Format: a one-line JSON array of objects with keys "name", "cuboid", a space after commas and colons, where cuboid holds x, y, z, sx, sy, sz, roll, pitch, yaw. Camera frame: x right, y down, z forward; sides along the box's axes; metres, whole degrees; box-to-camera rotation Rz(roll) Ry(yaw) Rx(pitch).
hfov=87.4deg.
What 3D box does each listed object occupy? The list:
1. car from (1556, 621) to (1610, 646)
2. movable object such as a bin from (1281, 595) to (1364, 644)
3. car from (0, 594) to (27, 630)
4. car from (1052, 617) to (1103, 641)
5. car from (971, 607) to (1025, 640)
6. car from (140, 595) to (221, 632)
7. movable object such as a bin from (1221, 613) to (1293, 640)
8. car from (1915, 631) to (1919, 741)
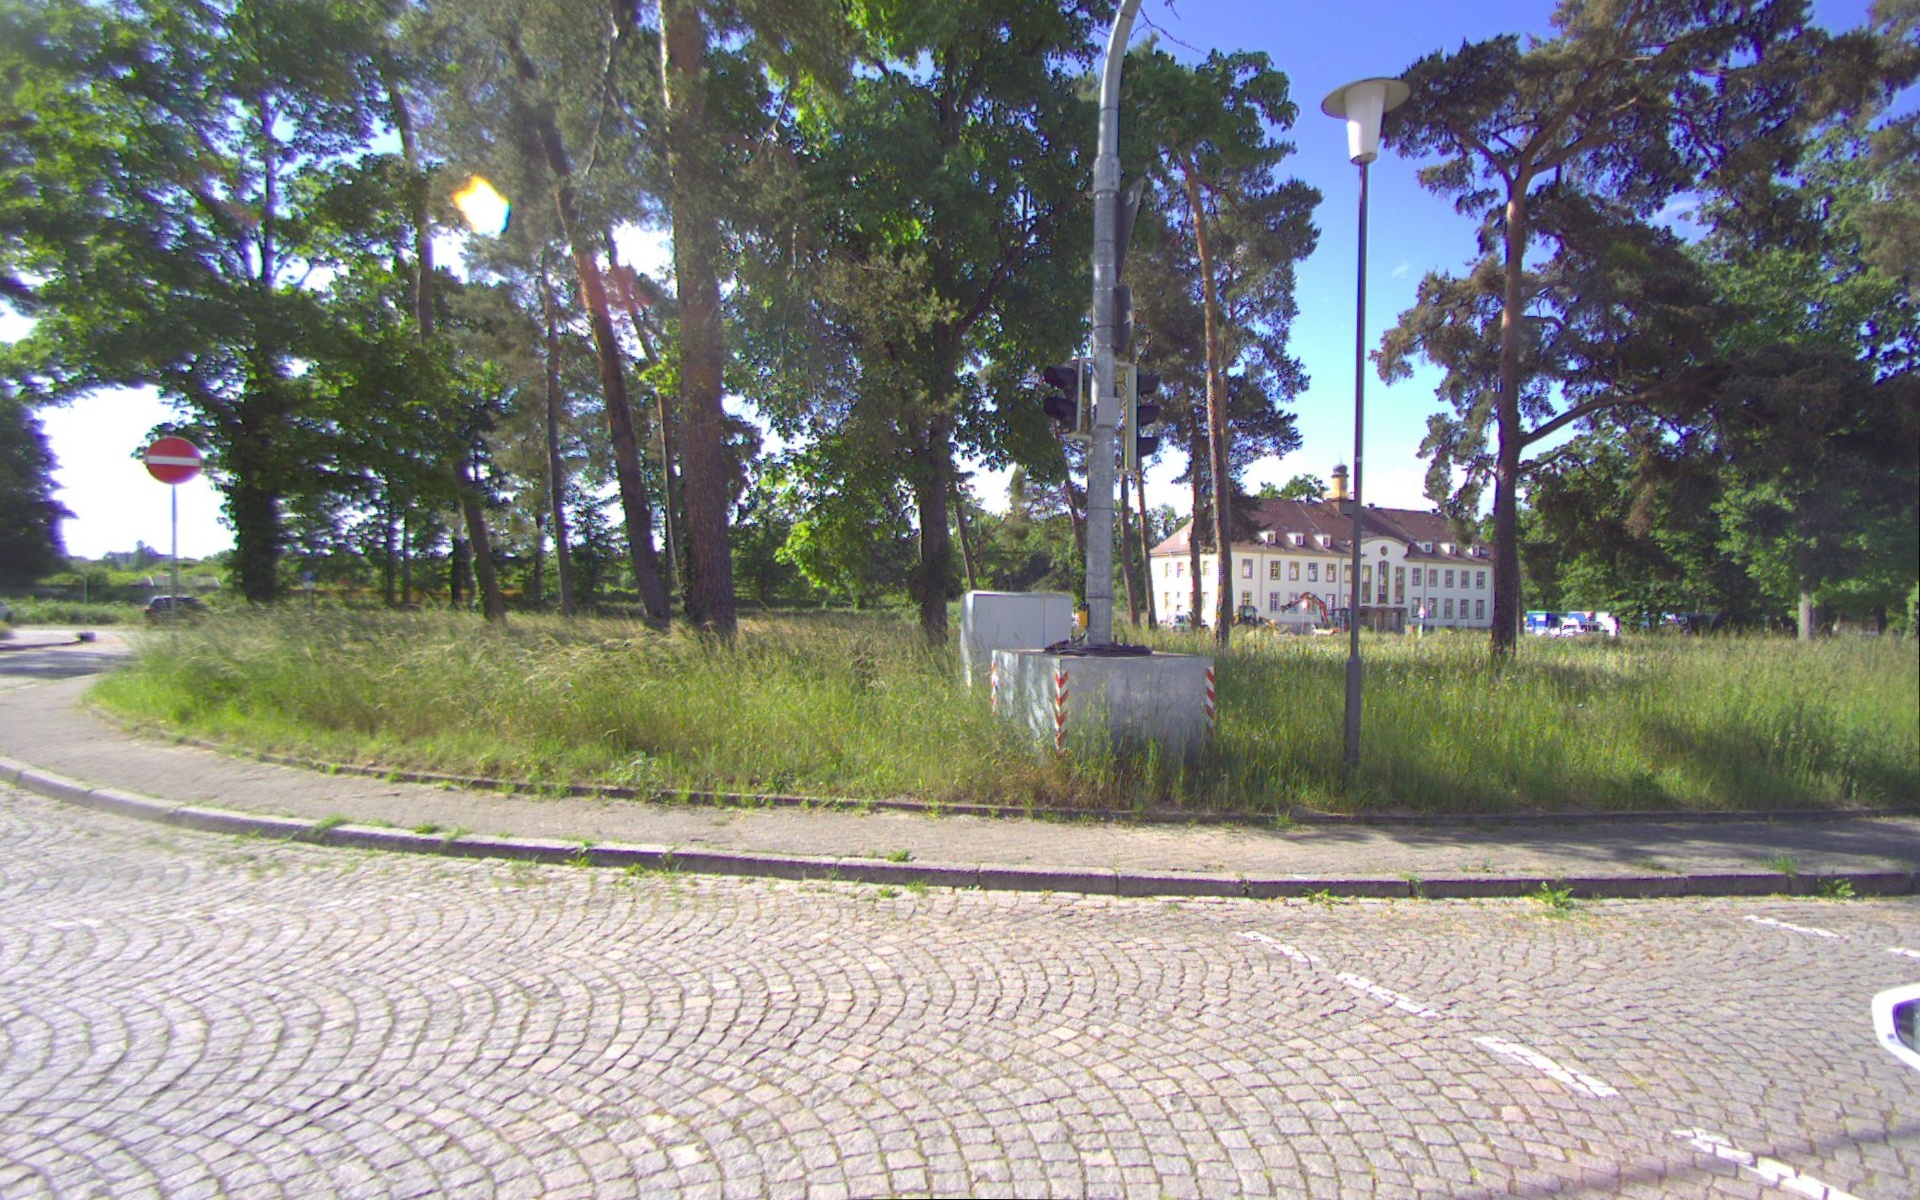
[{"name": "car", "cuboid": [63.505, 3.396, 102.414, 5.201, 2.469, 1.980, 2, -1, -23]}, {"name": "movable object such as a bin", "cuboid": [29.185, 1.576, 80.732, 3.876, 3.780, 6.753, 0, -1, 43]}, {"name": "car", "cuboid": [-43.350, 0.506, 44.351, 1.694, 1.601, 4.089, 2, -1, -21]}, {"name": "car", "cuboid": [8.491, 2.086, 72.910, 1.884, 1.626, 4.221, 2, -1, -21]}, {"name": "car", "cuboid": [2.613, 1.617, 70.097, 1.928, 2.192, 4.837, 2, -1, -21]}, {"name": "car", "cuboid": [-36.286, 0.647, 46.853, 1.813, 1.651, 4.040, 1, -1, -21]}, {"name": "movable object such as a bin", "cuboid": [25.001, 2.212, 84.569, 5.570, 2.153, 2.527, 1, -1, 23]}, {"name": "car", "cuboid": [14.767, 1.229, 12.297, 1.922, 1.503, 4.015, 1, 1, -24]}]
